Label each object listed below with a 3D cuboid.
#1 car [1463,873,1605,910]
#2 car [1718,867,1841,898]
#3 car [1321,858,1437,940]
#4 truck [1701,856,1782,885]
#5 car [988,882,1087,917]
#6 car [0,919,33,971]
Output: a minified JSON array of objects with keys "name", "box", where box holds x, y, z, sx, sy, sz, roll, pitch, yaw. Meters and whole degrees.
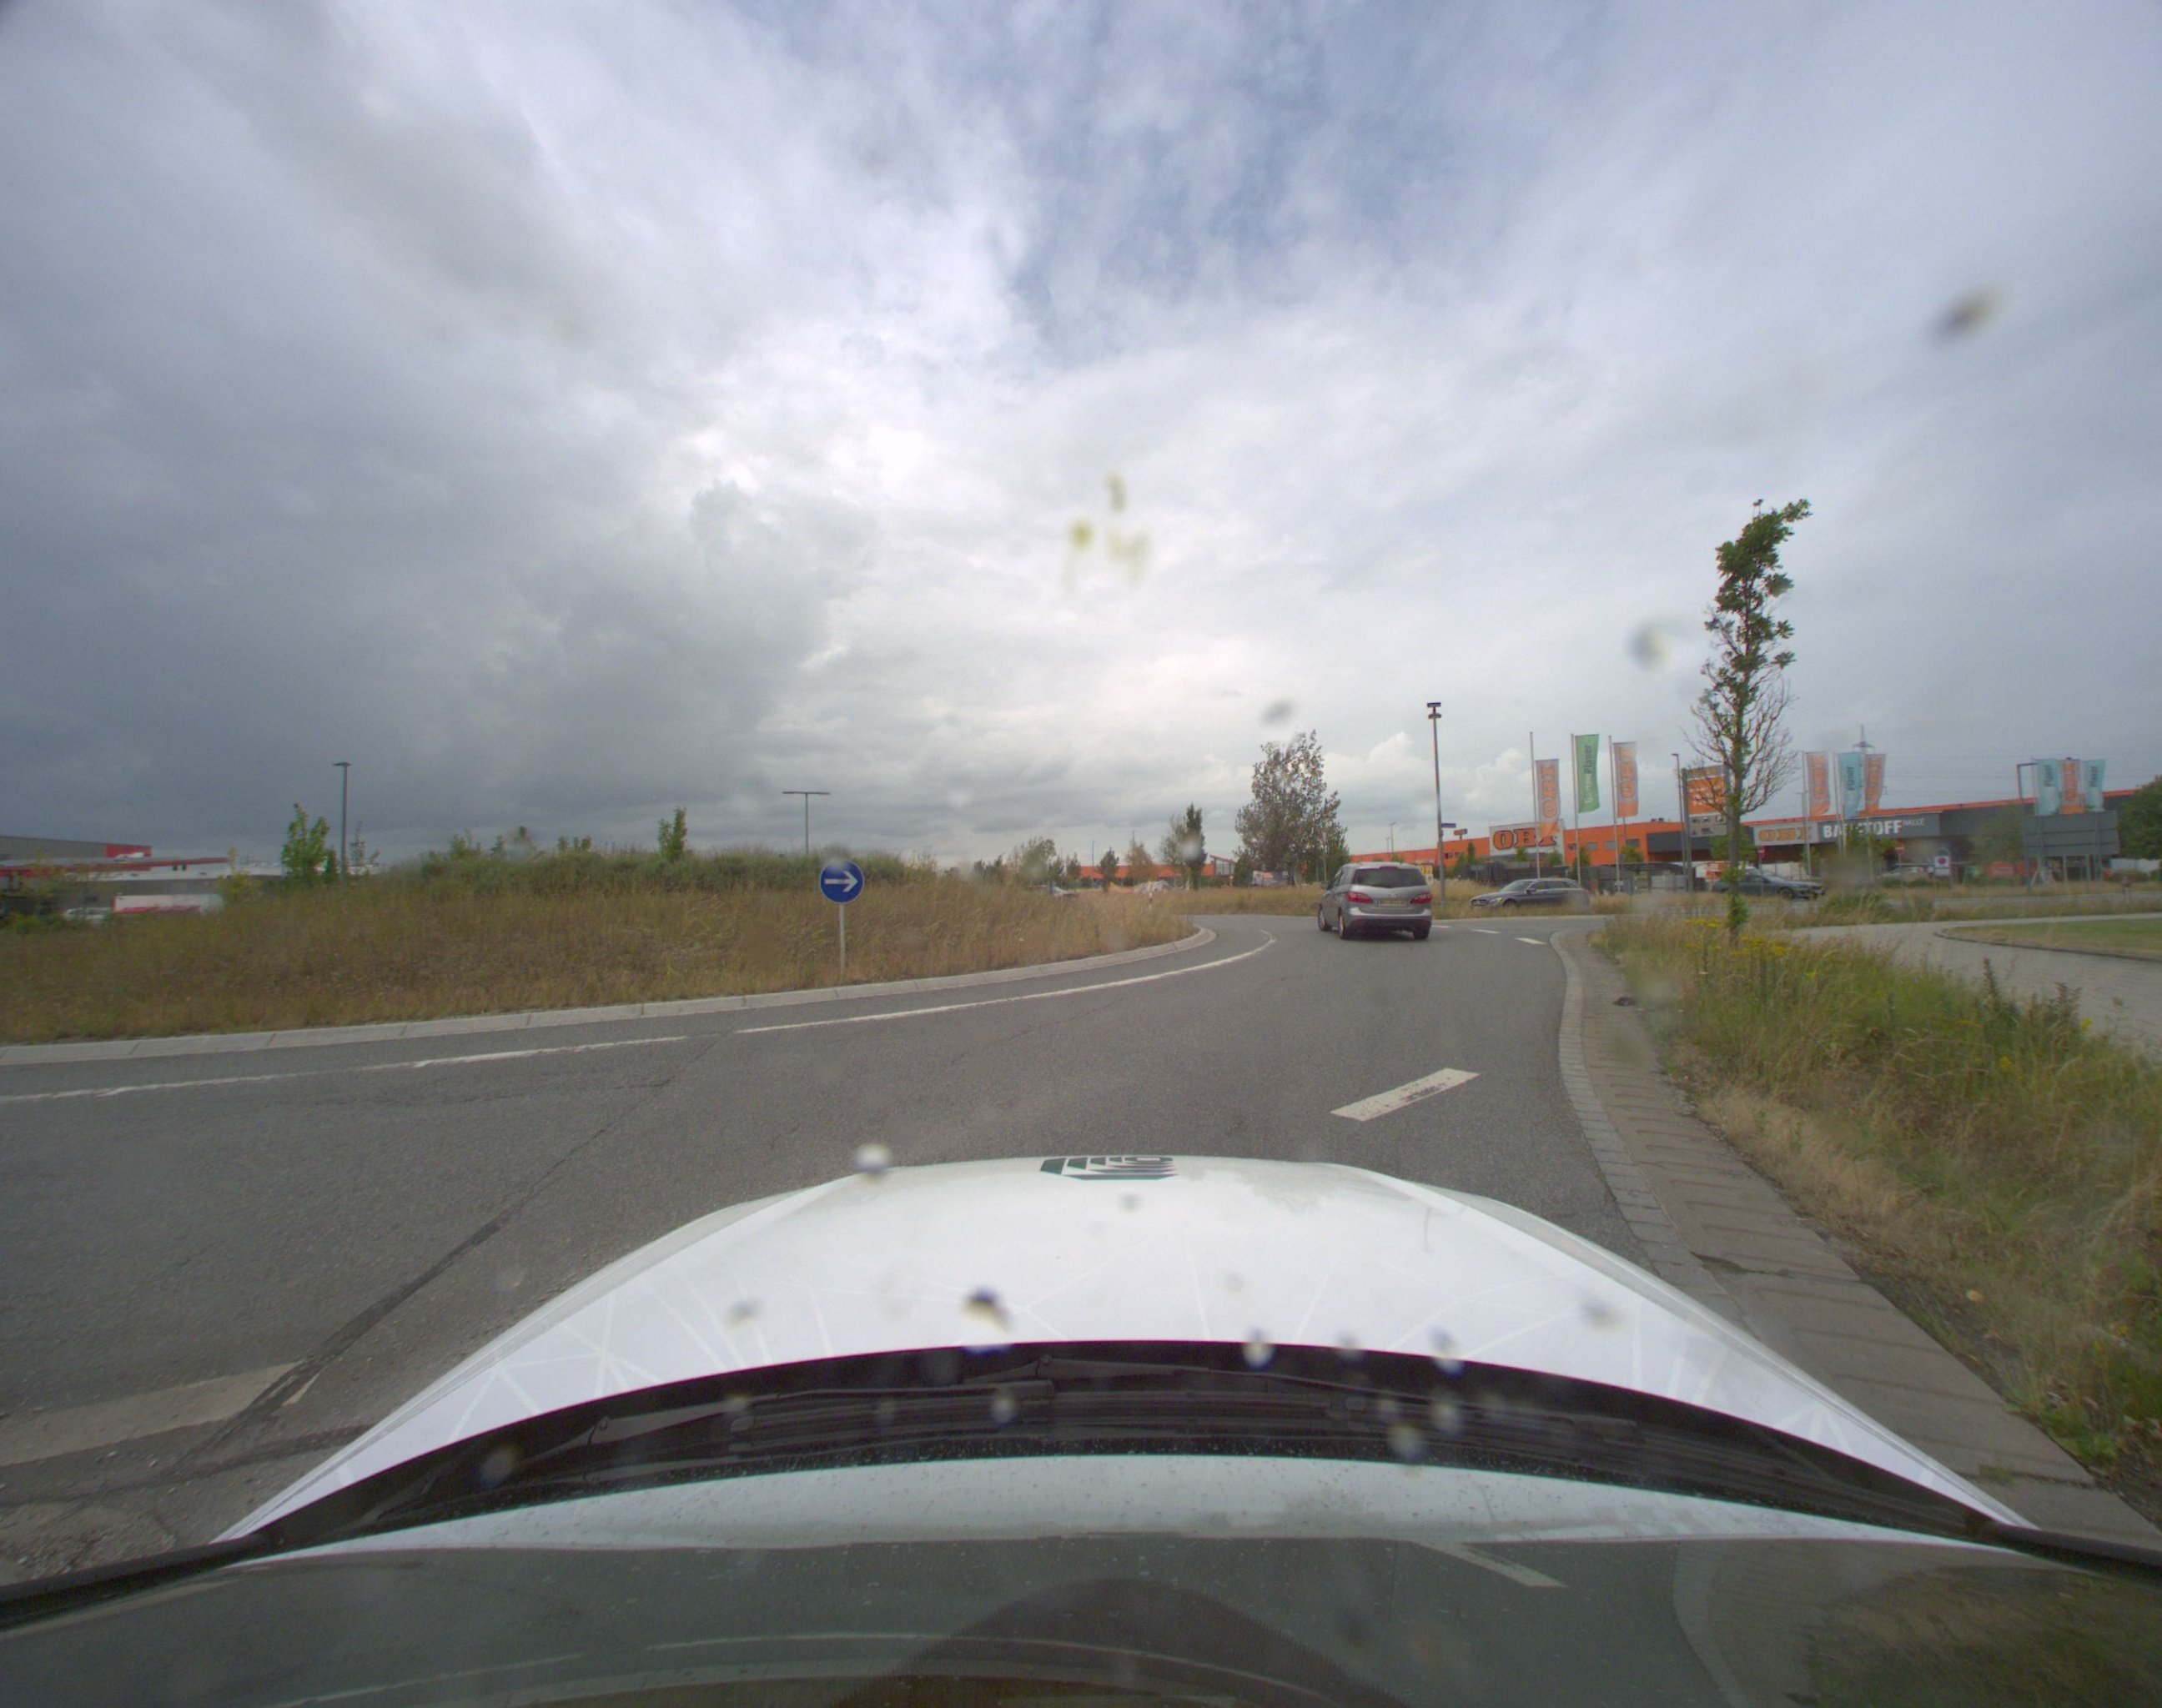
[{"name":"car","box":[17.716,1.476,31.955,4.668,1.404,1.923,1,-2,-7]},{"name":"car","box":[37.565,1.570,43.979,1.998,1.507,4.654,1,-4,-17]},{"name":"car","box":[6.399,0.901,17.926,1.727,1.599,4.008,0,-1,10]},{"name":"truck","box":[63.777,1.608,78.740,2.440,2.485,5.511,1,-4,-20]},{"name":"car","box":[-1.892,1.961,35.605,3.948,1.404,1.754,-1,-1,26]},{"name":"car","box":[-34.975,2.847,25.432,2.011,1.609,4.244,4,-6,-43]}]
